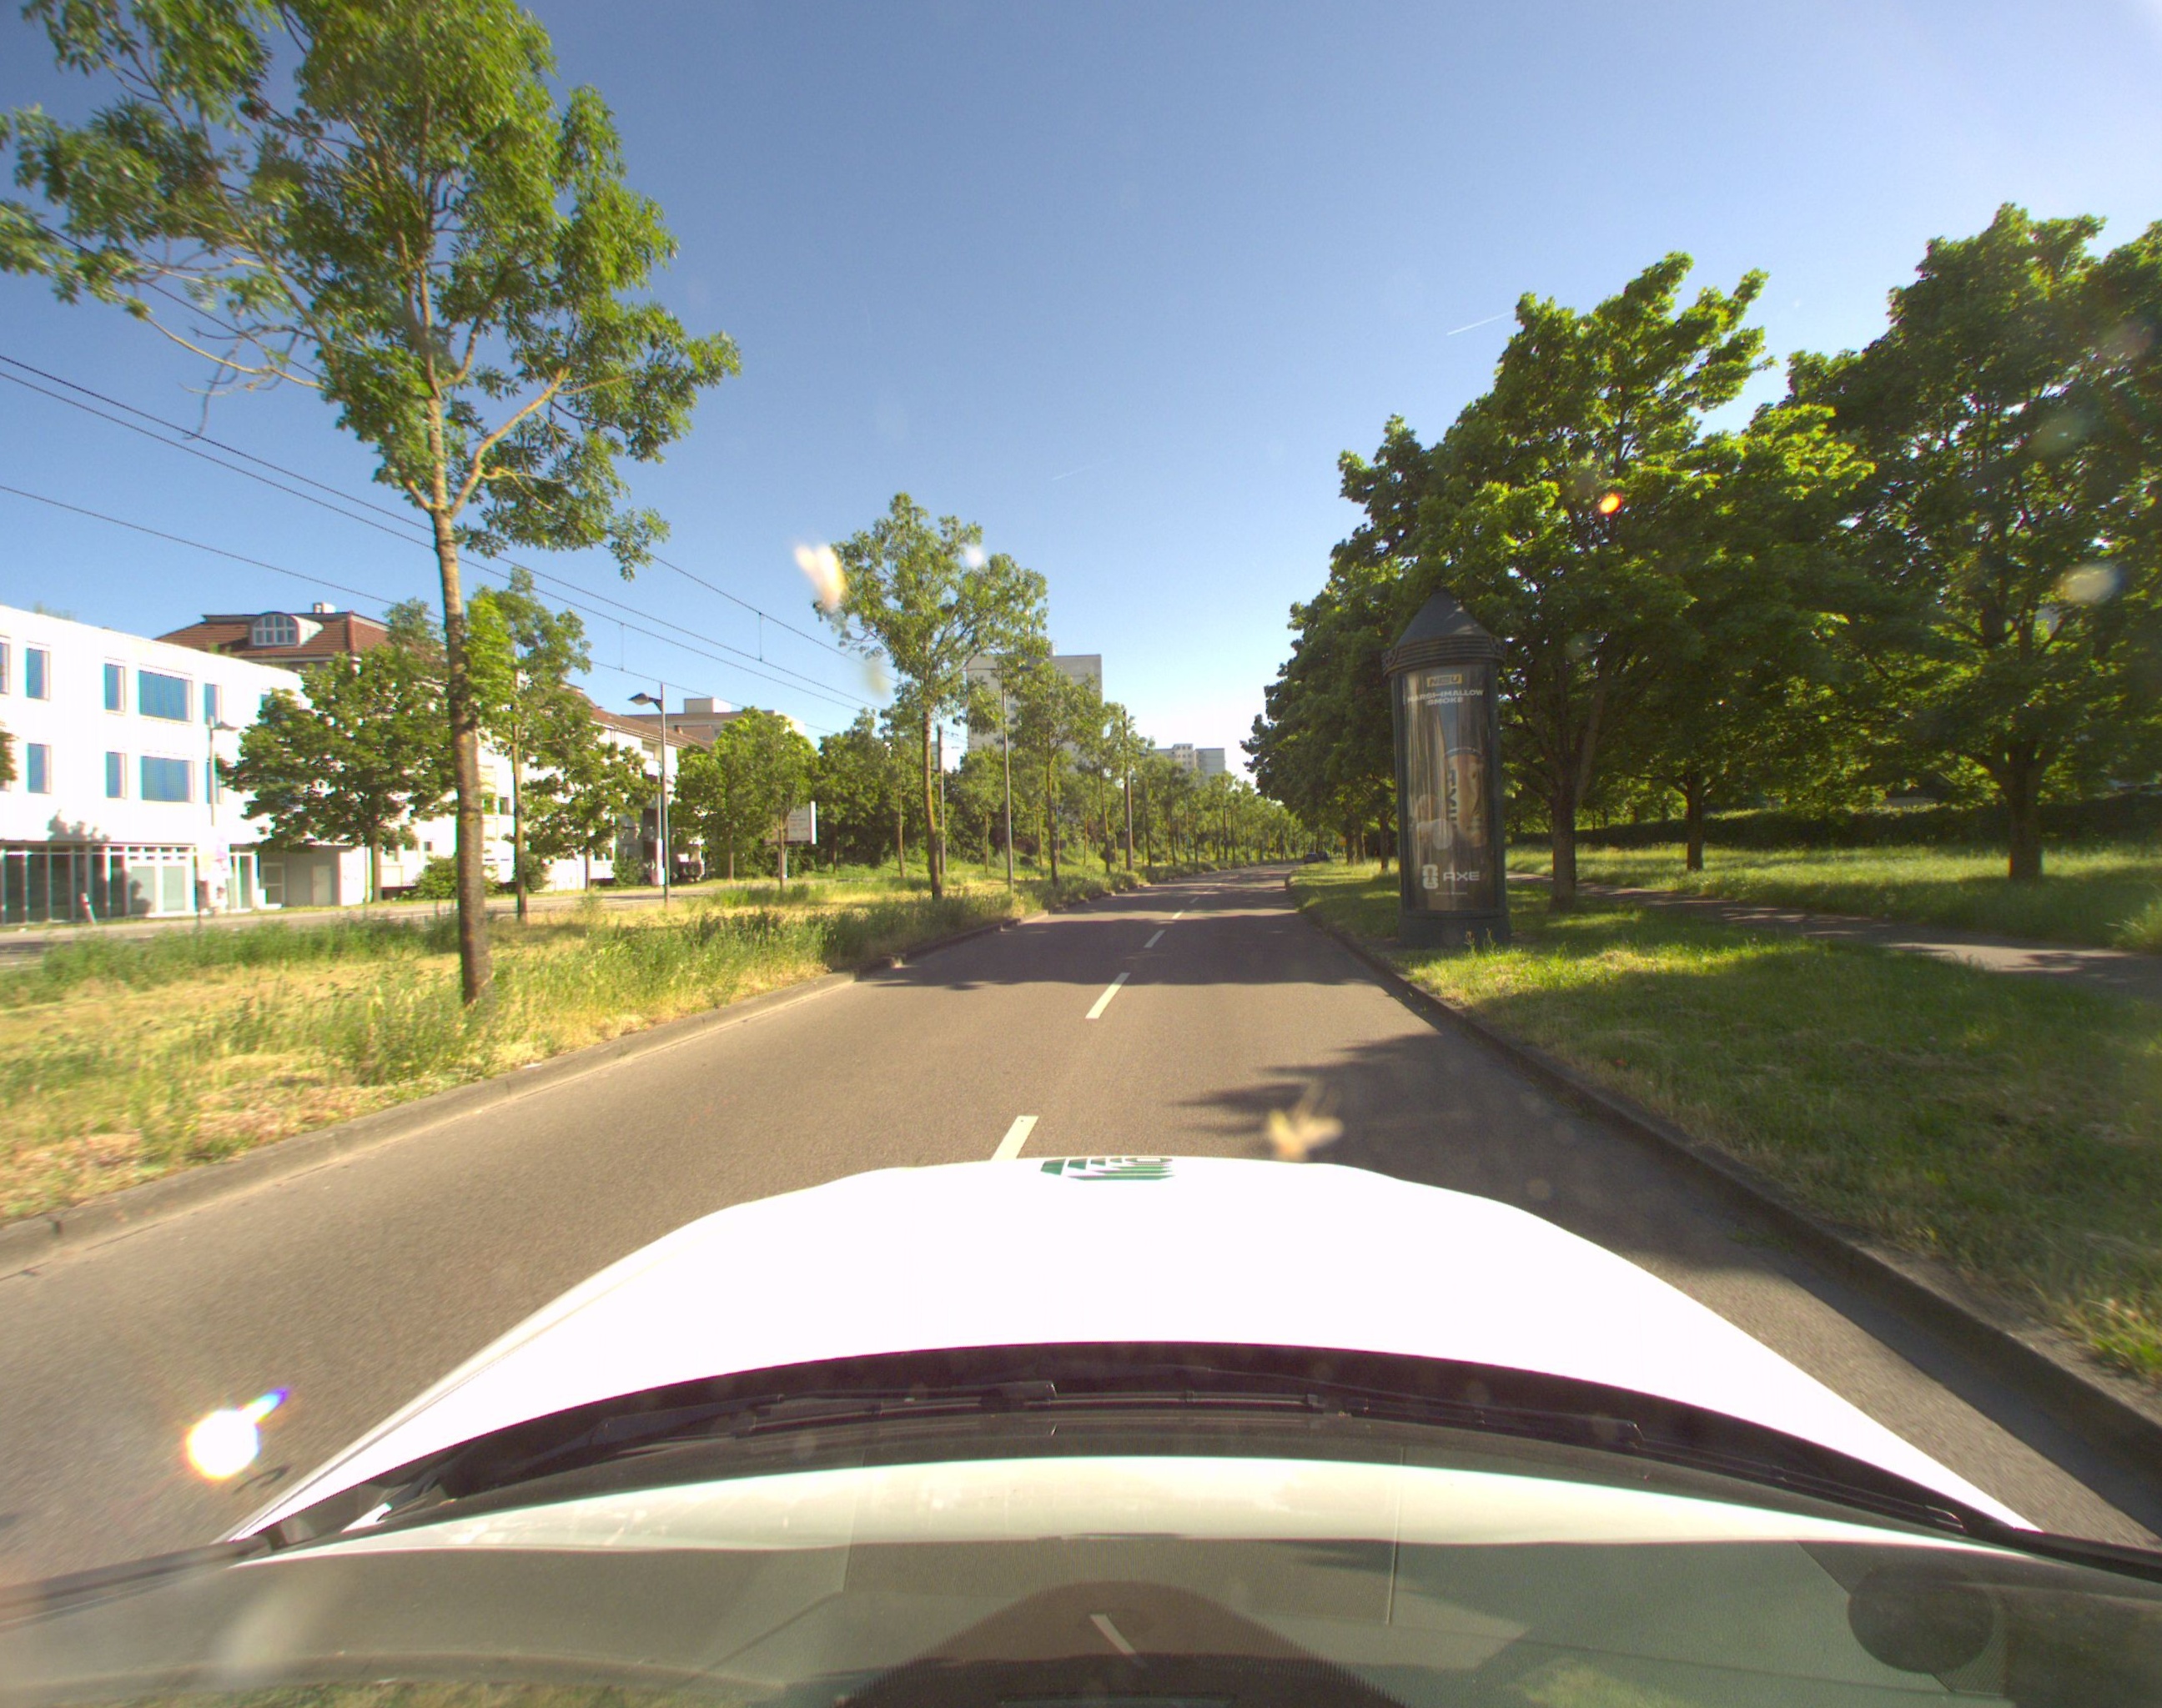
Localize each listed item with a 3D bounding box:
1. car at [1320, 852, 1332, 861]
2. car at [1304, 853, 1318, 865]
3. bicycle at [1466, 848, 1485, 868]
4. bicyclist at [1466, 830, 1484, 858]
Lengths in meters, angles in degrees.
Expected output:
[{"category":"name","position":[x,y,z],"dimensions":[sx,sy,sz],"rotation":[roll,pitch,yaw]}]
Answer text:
[{"category":"car","position":[43.316,0.365,144.050],"dimensions":[1.620,1.498,4.258],"rotation":[-1,0,23]},{"category":"car","position":[30.216,0.647,106.839],"dimensions":[1.621,1.498,4.254],"rotation":[-1,0,18]},{"category":"bicycle","position":[21.307,0.204,44.011],"dimensions":[0.787,1.047,2.154],"rotation":[-2,-1,22]},{"category":"bicyclist","position":[21.309,-0.552,44.088],"dimensions":[0.782,1.450,0.849],"rotation":[-2,-1,22]}]
